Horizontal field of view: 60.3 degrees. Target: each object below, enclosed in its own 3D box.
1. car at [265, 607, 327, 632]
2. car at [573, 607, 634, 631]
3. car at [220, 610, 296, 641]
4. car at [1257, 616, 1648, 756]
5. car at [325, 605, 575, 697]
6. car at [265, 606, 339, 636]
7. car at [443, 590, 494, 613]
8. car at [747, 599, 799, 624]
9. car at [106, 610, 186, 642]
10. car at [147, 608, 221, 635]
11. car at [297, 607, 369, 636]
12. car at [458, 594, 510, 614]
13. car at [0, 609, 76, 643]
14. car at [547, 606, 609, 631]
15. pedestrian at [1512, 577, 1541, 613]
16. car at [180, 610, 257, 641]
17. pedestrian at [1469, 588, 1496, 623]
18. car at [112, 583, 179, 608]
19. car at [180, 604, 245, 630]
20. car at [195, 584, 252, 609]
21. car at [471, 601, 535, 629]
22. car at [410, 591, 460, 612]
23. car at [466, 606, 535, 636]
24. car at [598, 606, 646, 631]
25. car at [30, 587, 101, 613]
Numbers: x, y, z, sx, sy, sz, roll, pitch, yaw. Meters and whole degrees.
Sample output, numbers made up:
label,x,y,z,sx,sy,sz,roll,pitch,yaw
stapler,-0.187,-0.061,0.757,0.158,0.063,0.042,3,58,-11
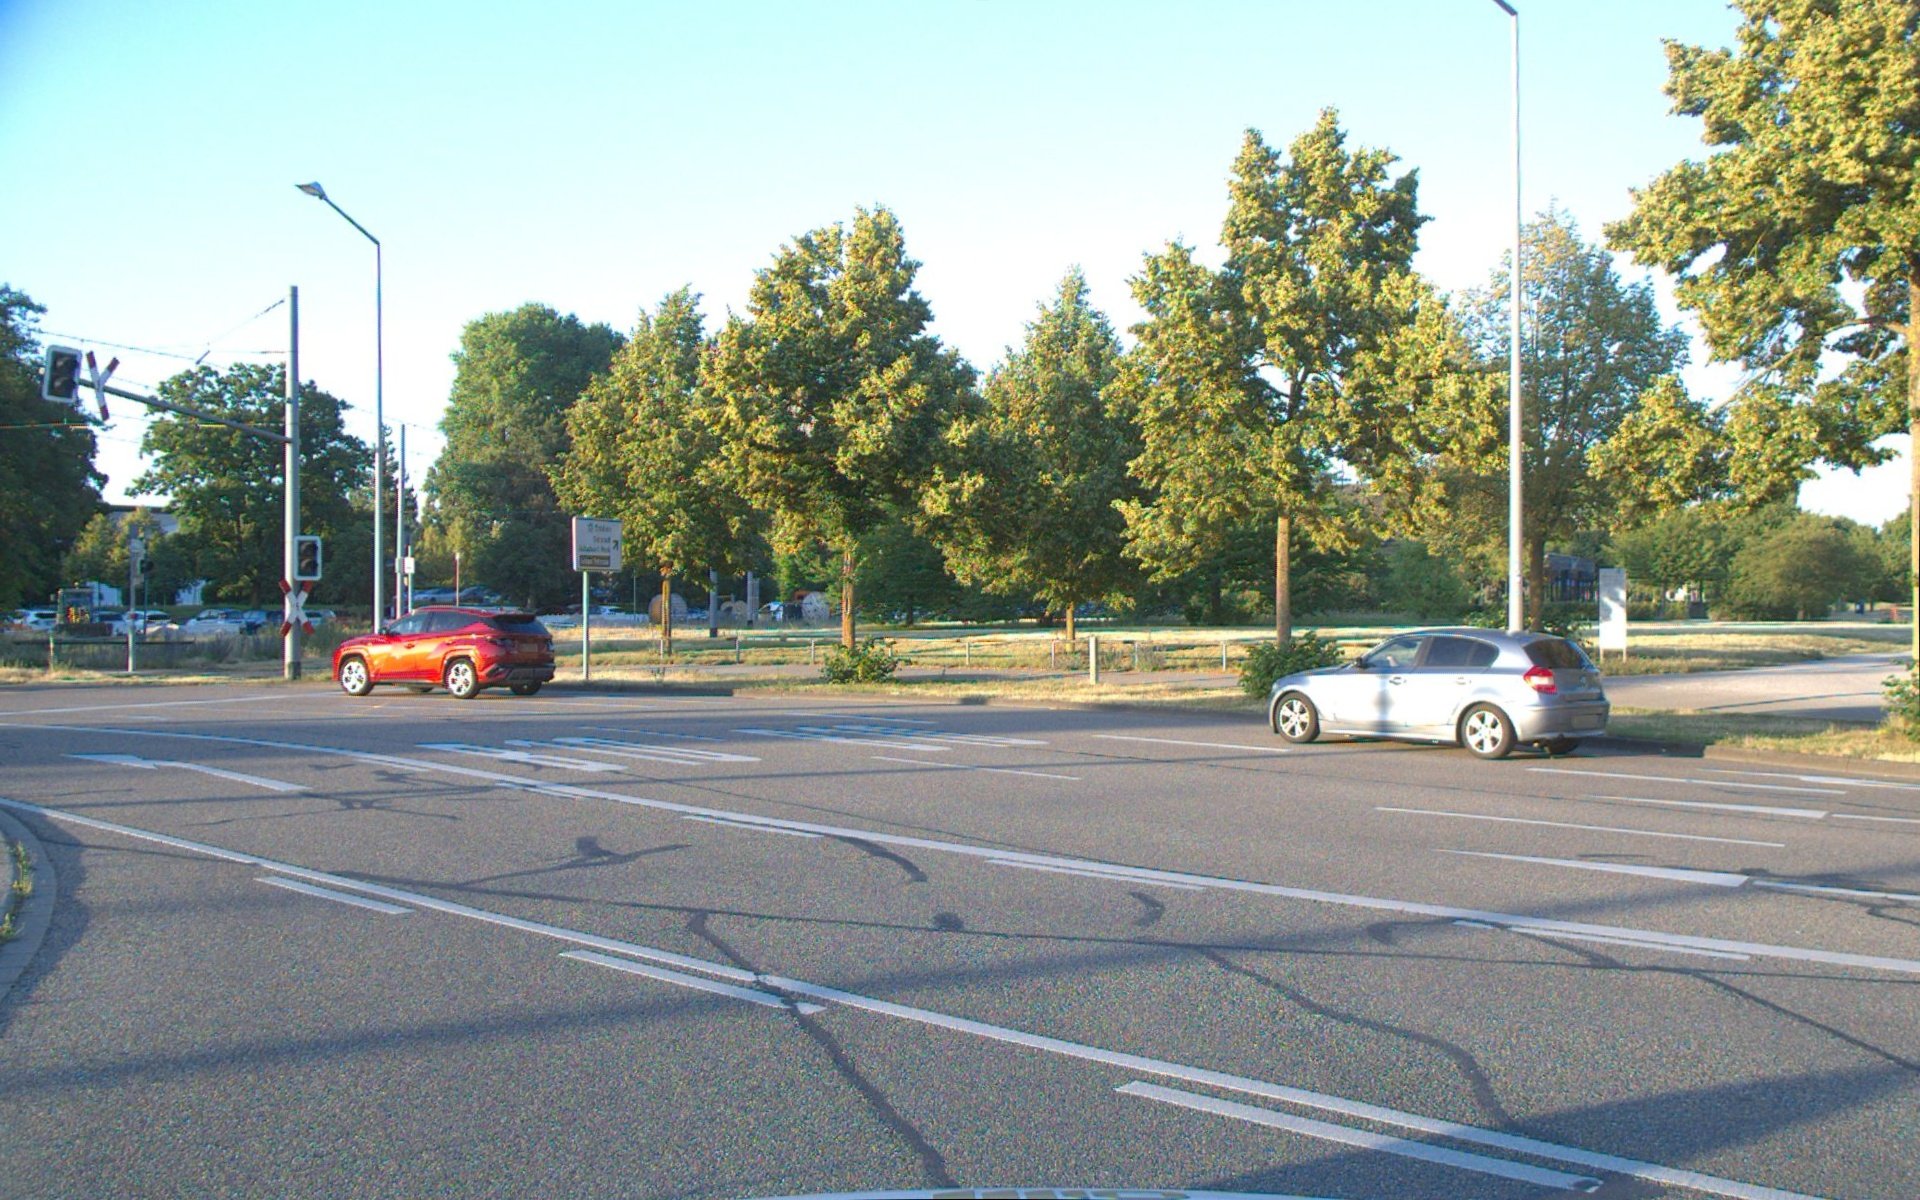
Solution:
label,x,y,z,sx,sy,sz,roll,pitch,yaw
car,-45.798,1.340,114.109,3.933,1.691,1.889,0,0,-23
car,-24.882,1.342,115.420,3.915,1.632,1.995,0,0,32
car,-39.071,1.412,92.041,3.915,1.632,1.995,0,0,32
car,5.701,0.927,19.499,1.852,1.414,4.098,0,0,-42
car,-9.533,0.906,30.873,4.316,1.601,1.998,0,0,27
car,-37.371,1.184,93.867,3.915,1.632,1.995,0,0,32
car,-44.068,0.135,148.233,1.963,2.049,3.979,0,0,40
car,-12.983,0.780,114.667,1.724,1.646,3.940,0,0,-41
car,-42.238,1.330,85.784,3.915,1.632,1.995,0,0,32
car,-50.212,1.389,107.081,1.863,1.691,3.987,0,0,34
car,-36.426,1.210,96.085,3.915,1.632,1.995,0,0,32
car,-41.668,0.321,144.721,3.902,1.736,2.001,0,0,6
car,-45.609,1.253,81.431,3.915,1.632,1.995,0,0,32
car,-26.251,1.256,113.670,3.915,1.632,1.995,0,0,32
pedestrian,26.713,-0.239,78.005,1.047,1.646,0.911,0,0,2
car,-40.513,1.380,90.373,3.915,1.632,1.995,0,0,32
pedestrian,24.835,0.240,78.621,1.047,1.646,0.911,0,0,2
car,-67.097,-0.389,136.338,1.958,2.049,4.585,0,0,33
car,-50.542,1.129,111.868,3.939,1.691,1.983,0,0,-27
car,-63.354,-0.300,142.359,1.958,2.049,4.105,0,0,33
car,-34.573,1.106,125.259,4.499,2.049,1.996,0,0,-9
car,-47.929,0.140,151.061,1.959,1.847,3.987,0,0,34
car,-32.505,1.461,117.151,4.499,2.049,1.996,0,0,-9
car,-26.344,1.415,128.875,1.979,1.782,4.538,0,1,-37
car,-70.513,-0.001,130.463,1.956,2.049,4.590,0,0,29
